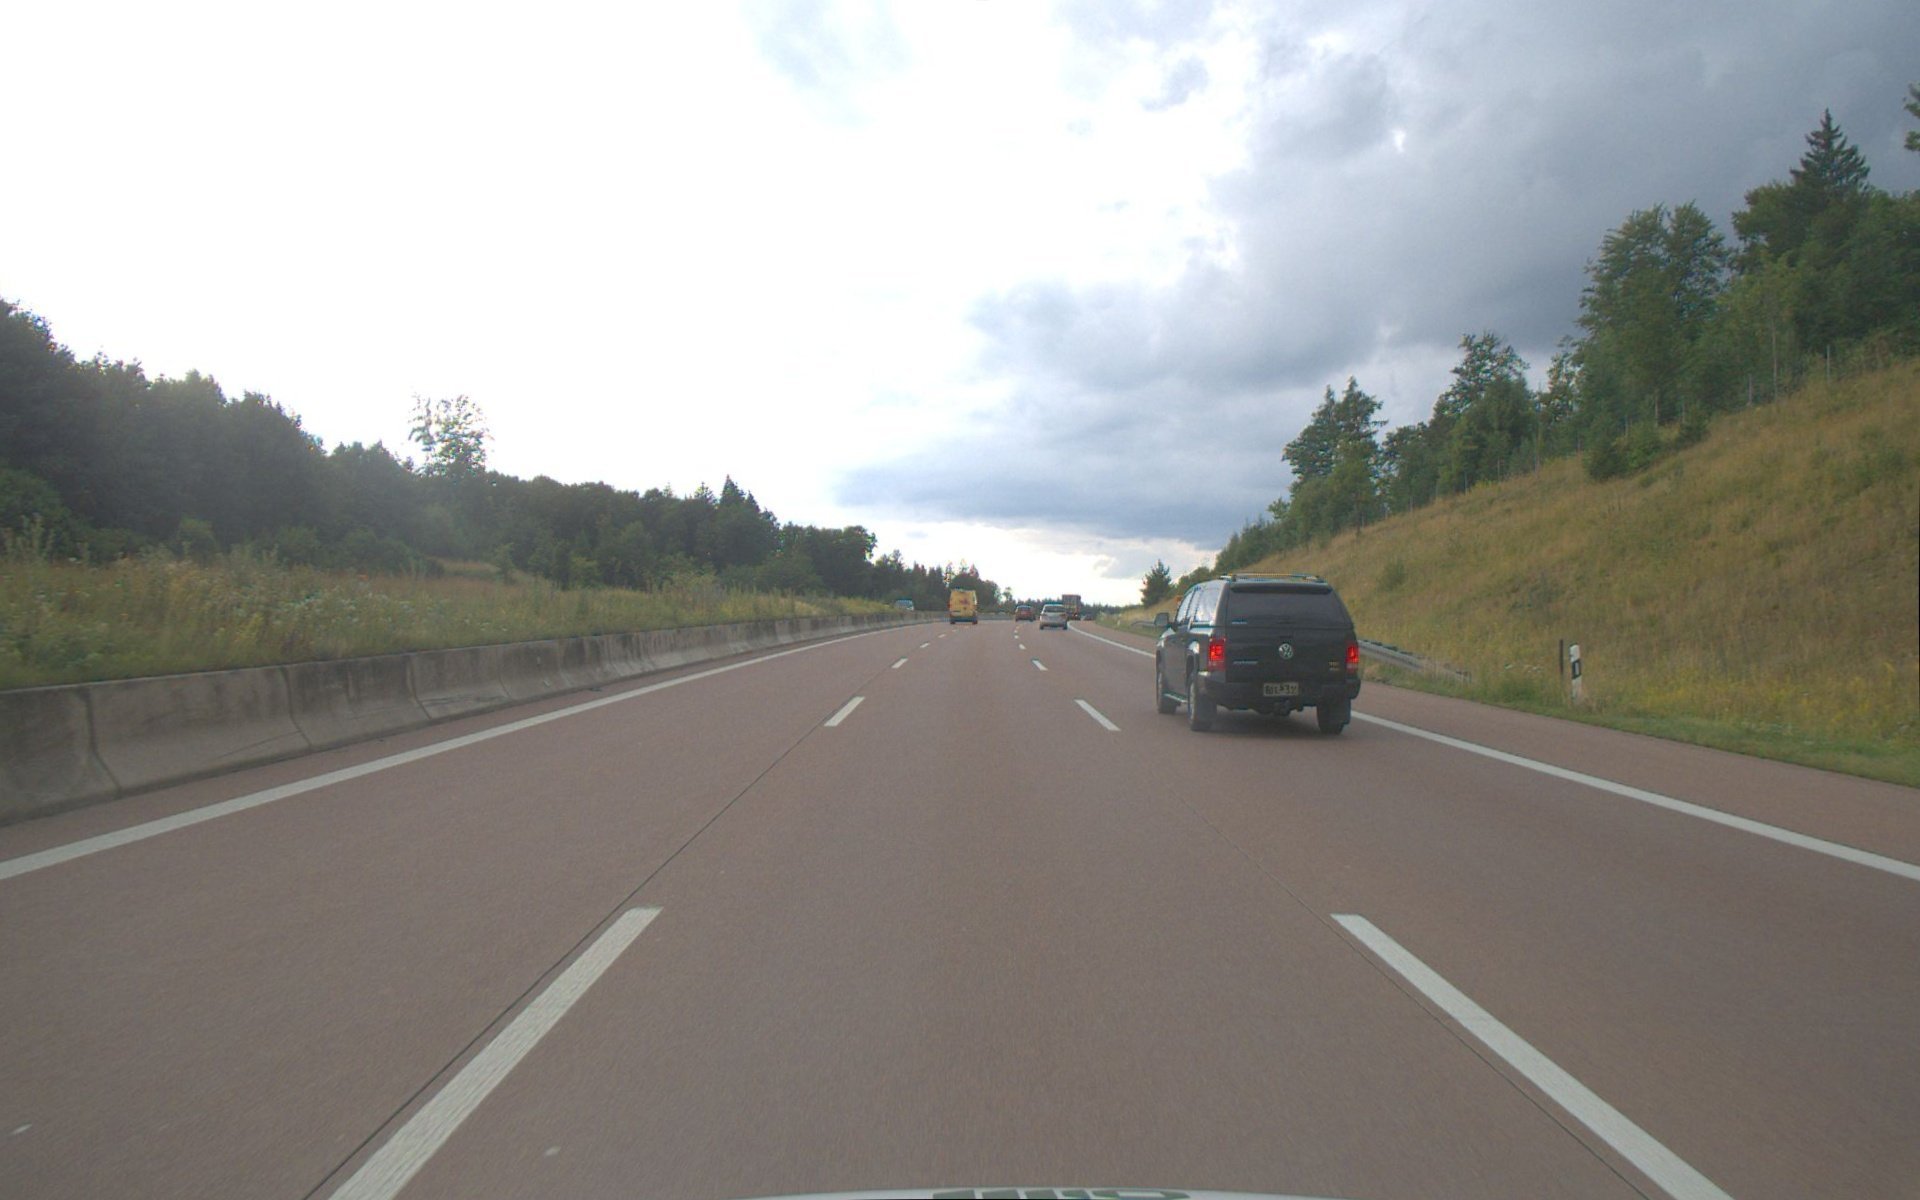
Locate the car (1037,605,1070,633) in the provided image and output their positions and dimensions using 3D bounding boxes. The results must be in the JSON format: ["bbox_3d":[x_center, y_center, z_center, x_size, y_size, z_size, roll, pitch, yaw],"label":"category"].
[{"bbox_3d":[5.953,1.196,105.739,1.936,1.677,4.620,1,0,2],"label":"car"}]

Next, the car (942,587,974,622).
[{"bbox_3d":[-0.117,0.401,130.917,2.408,2.754,5.614,0,-1,1],"label":"car"}]

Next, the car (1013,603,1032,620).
[{"bbox_3d":[6.774,1.250,178.685,1.848,1.795,4.784,0,-1,4],"label":"car"}]

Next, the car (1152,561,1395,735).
[{"bbox_3d":[3.814,0.567,21.194,2.002,1.930,5.576,0,-1,-1],"label":"car"}]

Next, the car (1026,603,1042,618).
[{"bbox_3d":[9.329,1.345,208.660,1.847,1.795,5.000,0,-1,5],"label":"car"}]
